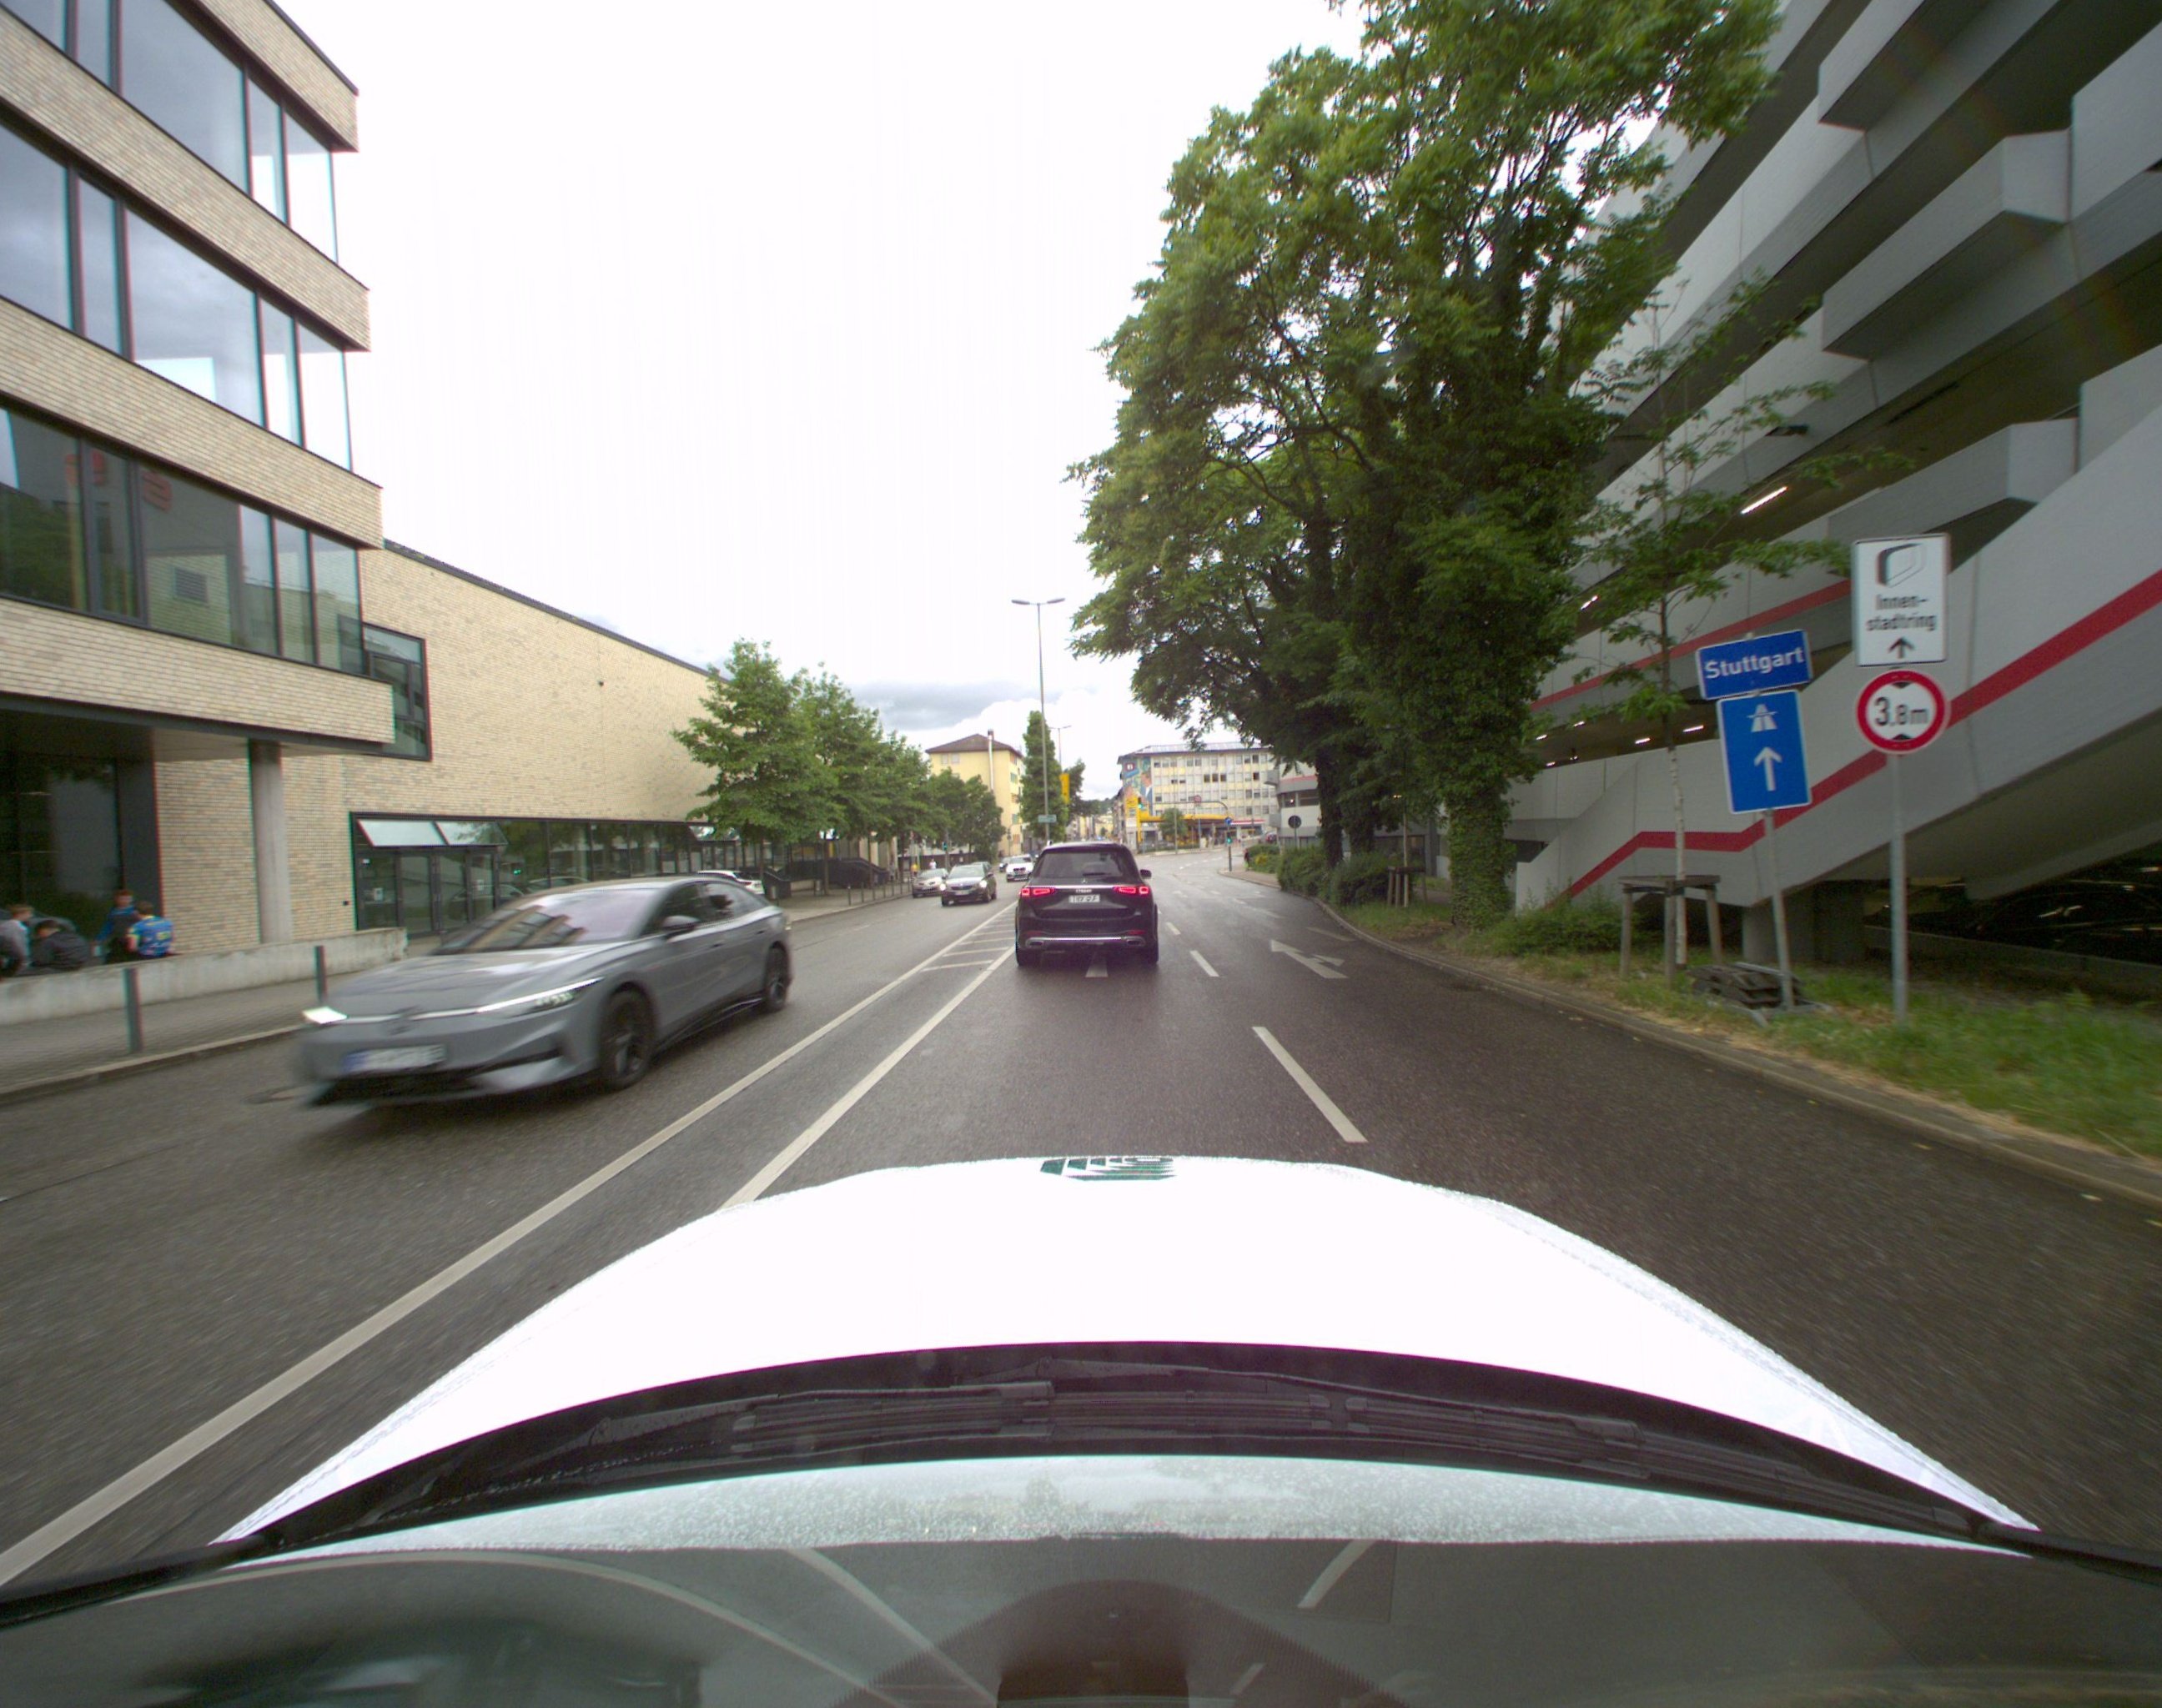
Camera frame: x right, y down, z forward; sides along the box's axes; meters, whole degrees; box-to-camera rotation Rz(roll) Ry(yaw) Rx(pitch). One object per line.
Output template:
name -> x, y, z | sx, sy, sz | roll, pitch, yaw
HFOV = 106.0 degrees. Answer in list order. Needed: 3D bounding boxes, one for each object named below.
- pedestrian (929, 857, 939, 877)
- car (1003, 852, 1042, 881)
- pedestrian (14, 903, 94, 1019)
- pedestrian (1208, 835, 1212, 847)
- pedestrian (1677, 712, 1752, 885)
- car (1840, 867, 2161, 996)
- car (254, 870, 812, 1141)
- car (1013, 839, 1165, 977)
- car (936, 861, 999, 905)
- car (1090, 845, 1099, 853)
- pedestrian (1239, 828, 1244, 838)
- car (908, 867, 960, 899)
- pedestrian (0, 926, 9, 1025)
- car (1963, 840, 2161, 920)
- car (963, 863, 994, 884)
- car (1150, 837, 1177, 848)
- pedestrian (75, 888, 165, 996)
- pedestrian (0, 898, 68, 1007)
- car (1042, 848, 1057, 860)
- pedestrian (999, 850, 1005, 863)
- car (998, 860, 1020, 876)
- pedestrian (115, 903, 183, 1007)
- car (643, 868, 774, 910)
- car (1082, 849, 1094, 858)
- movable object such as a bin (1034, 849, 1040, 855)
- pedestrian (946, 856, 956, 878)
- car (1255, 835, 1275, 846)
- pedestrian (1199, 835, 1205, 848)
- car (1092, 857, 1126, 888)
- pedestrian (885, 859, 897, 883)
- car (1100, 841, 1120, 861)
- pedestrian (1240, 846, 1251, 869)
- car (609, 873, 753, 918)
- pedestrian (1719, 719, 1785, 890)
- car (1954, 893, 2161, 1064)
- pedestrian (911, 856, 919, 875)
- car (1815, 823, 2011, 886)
pedestrian -> -12.117, 1.065, 67.165 | 0.688, 1.656, 0.612 | -3, 0, -6
car -> -4.035, 0.840, 56.923 | 1.882, 1.811, 4.580 | -4, 0, 4
pedestrian -> -13.642, 1.403, 10.828 | 0.448, 1.475, 0.463 | 0, -1, -4
pedestrian -> 18.442, -1.845, 116.574 | 0.570, 1.697, 0.631 | -1, -1, 3
pedestrian -> 8.137, -0.693, 10.478 | 0.511, 2.154, 0.494 | -2, -1, 6
car -> 13.791, 1.076, 11.822 | 3.713, 1.540, 1.815 | -1, 3, 7
car -> -4.154, 0.981, 7.339 | 1.877, 1.498, 4.560 | -4, 0, -1
car -> 0.166, 0.737, 12.712 | 1.986, 1.800, 4.001 | -1, -1, 2
car -> -4.350, 1.076, 31.770 | 1.806, 1.462, 4.286 | -4, -1, -1
car -> 3.477, -1.211, 209.381 | 1.985, 2.014, 4.002 | -1, -1, 3
pedestrian -> 26.163, -3.420, 132.621 | 0.521, 1.727, 0.693 | -2, 0, 28
car -> -7.596, 1.461, 42.483 | 1.823, 1.388, 4.229 | -4, 0, 0
pedestrian -> -13.600, 1.499, 9.910 | 0.546, 1.215, 0.422 | -1, -1, 4
car -> 24.668, 0.612, 19.823 | 3.958, 1.783, 1.823 | -2, 0, 14
car -> -7.639, 1.442, 61.027 | 1.740, 1.412, 3.970 | -4, 0, 0
car -> 12.687, -1.750, 124.869 | 1.747, 1.376, 3.952 | -3, 1, -42
pedestrian -> -15.940, 1.434, 13.523 | 0.701, 1.714, 0.635 | 0, -1, -5
pedestrian -> -14.924, 1.377, 11.541 | 0.440, 1.475, 0.528 | 0, -1, -3
car -> -4.509, -0.028, 116.612 | 1.882, 1.586, 4.536 | -4, 0, 0
pedestrian -> -10.601, 0.395, 109.776 | 0.647, 1.727, 0.628 | -3, 0, -2
car -> -7.015, 1.349, 79.318 | 1.727, 1.393, 4.198 | -4, 0, -1
pedestrian -> -13.739, 1.468, 12.014 | 0.448, 1.475, 0.463 | 0, -1, -4
car -> -14.440, 1.347, 31.721 | 4.158, 1.547, 2.002 | -1, -1, 3
car -> 1.148, -0.072, 139.923 | 1.987, 1.614, 4.188 | 0, -1, -1
movable object such as a bin -> -7.462, -0.379, 137.862 | 0.906, 1.038, 0.844 | -1, -1, 2
pedestrian -> -10.310, 1.034, 64.533 | 0.687, 1.757, 0.716 | -2, 0, -9
car -> 26.822, -1.941, 118.539 | 1.779, 1.525, 4.081 | 0, 1, 29
pedestrian -> 17.572, -1.810, 117.993 | 0.521, 1.727, 0.693 | -2, 0, 31
car -> 1.695, 1.134, 49.823 | 1.986, 1.800, 4.001 | -1, -1, 2
pedestrian -> -13.326, 1.179, 57.048 | 0.641, 1.666, 1.017 | 0, -1, -4
car -> 3.022, -0.283, 84.448 | 1.986, 2.014, 4.001 | 0, -1, 1
pedestrian -> 12.479, 0.267, 61.637 | 0.639, 1.710, 0.474 | -2, -2, 38
car -> -14.240, 1.466, 29.214 | 4.169, 1.495, 1.996 | 0, -1, -5
pedestrian -> 8.667, -0.630, 10.535 | 0.419, 2.154, 0.435 | -2, -1, 6
car -> 12.827, 1.294, 9.083 | 3.966, 1.624, 1.841 | -1, 0, 6
pedestrian -> -13.731, 0.922, 67.367 | 0.435, 1.534, 0.548 | -3, 0, 16
car -> 26.137, 0.023, 25.744 | 3.958, 1.783, 1.823 | -2, 0, 14
